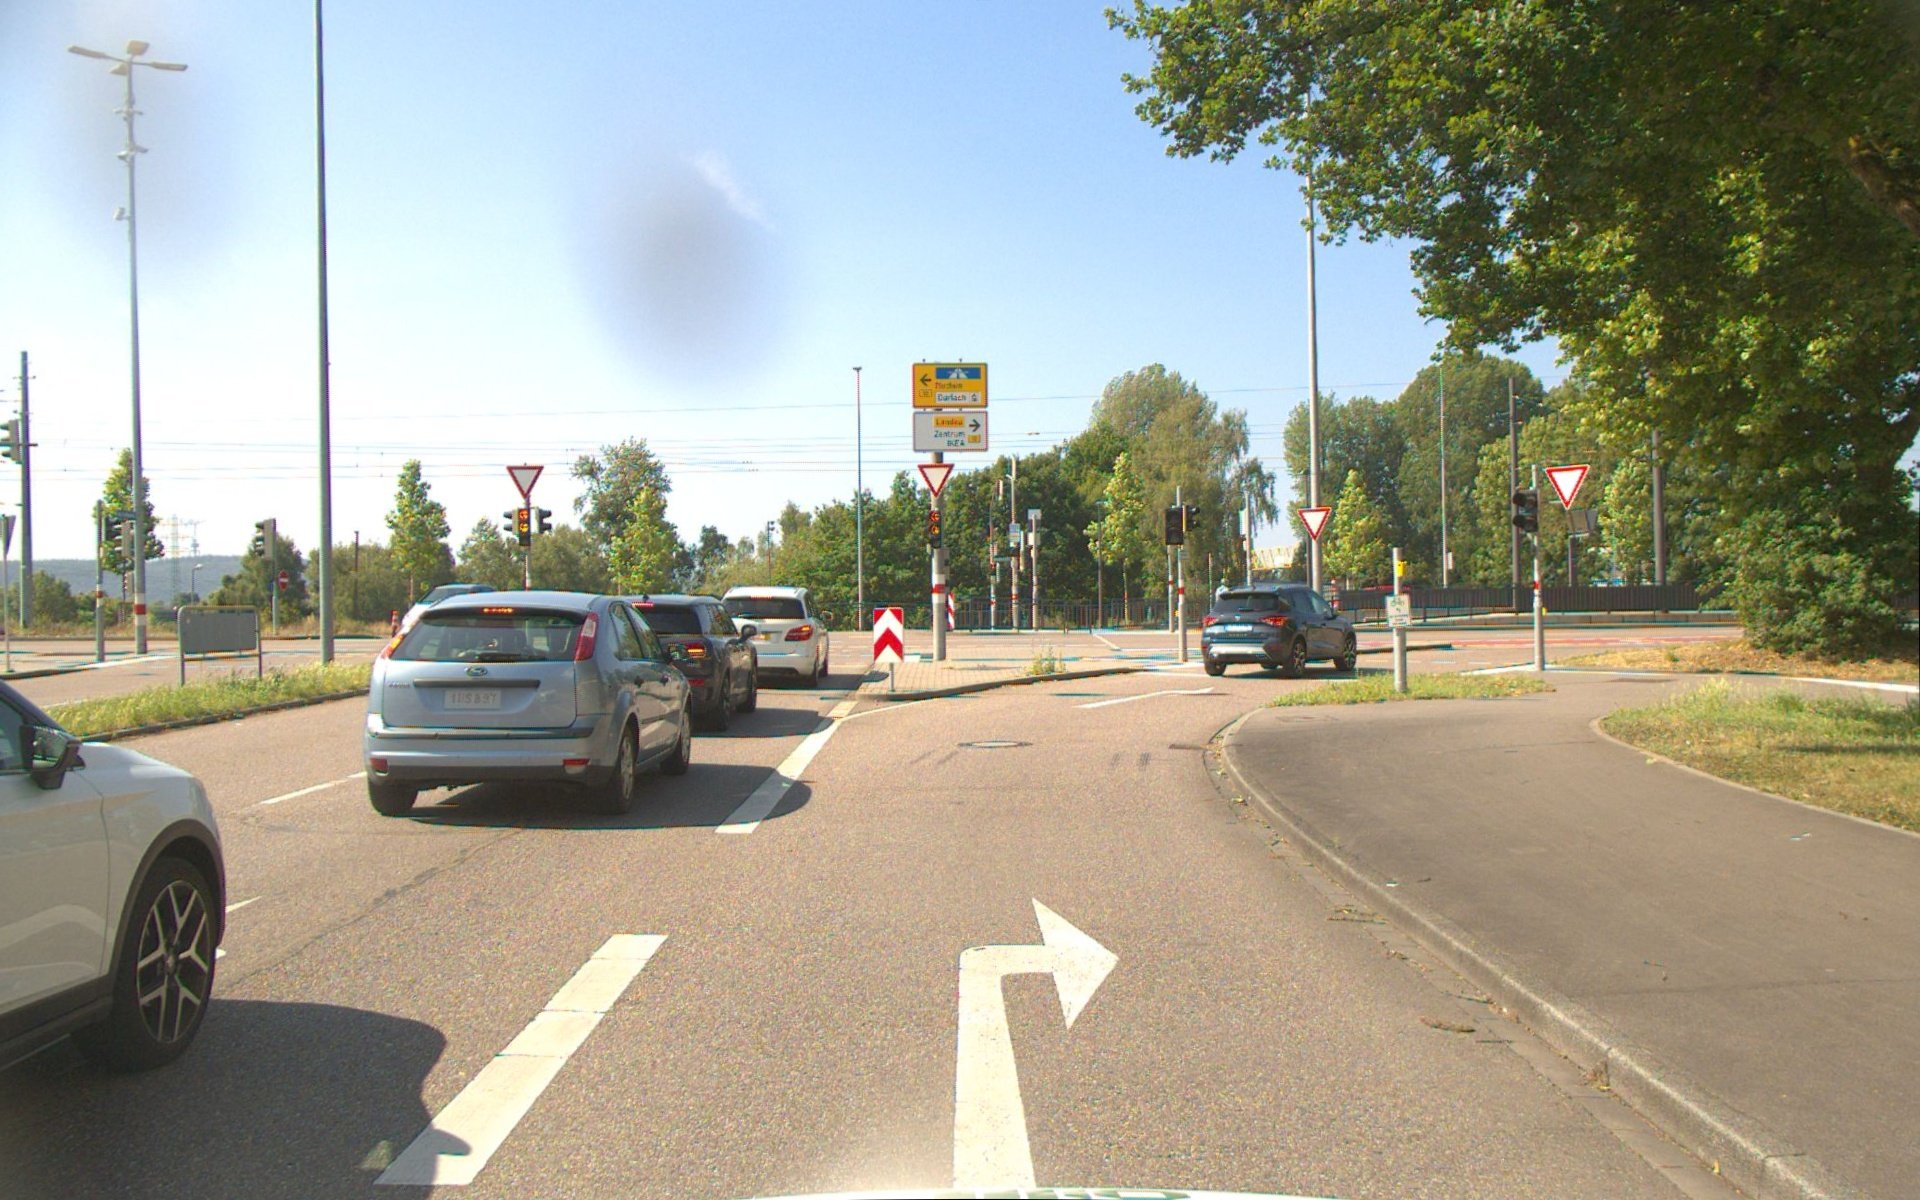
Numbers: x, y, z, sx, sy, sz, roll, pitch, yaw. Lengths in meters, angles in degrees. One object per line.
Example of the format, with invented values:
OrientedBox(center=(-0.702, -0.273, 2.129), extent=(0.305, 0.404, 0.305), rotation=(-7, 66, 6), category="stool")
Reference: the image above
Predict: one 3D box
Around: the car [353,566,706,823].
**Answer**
OrientedBox(center=(-3.023, 0.583, 12.481), extent=(1.672, 1.600, 4.173), rotation=(0, 0, -2), category="car")

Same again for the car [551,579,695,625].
OrientedBox(center=(-12.271, 0.044, 60.364), extent=(4.761, 1.529, 2.039), rotation=(-2, 1, -36), category="car")

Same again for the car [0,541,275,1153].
OrientedBox(center=(-3.197, 0.635, 3.813), extent=(1.597, 1.524, 3.870), rotation=(-1, 2, 0), category="car")

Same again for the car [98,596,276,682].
OrientedBox(center=(-10.088, 0.477, 21.724), extent=(1.094, 1.021, 2.492), rotation=(-2, 0, 1), category="car")

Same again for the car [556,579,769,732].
OrientedBox(center=(-3.335, 0.567, 19.299), extent=(1.702, 1.538, 4.200), rotation=(-2, 0, 0), category="car")

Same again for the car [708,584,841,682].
OrientedBox(center=(-2.982, 0.485, 27.351), extent=(1.706, 1.473, 4.388), rotation=(-1, 0, 0), category="car")

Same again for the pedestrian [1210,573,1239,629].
OrientedBox(center=(7.430, 0.025, 46.447), extent=(0.756, 1.537, 1.008), rotation=(-1, 1, 11), category="pedestrian")

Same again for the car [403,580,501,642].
OrientedBox(center=(-14.730, 0.295, 48.118), extent=(1.594, 1.653, 3.917), rotation=(-1, 1, 0), category="car")

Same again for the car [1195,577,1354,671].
OrientedBox(center=(5.586, 0.390, 29.113), extent=(1.640, 1.550, 3.368), rotation=(0, 0, 32), category="car")
